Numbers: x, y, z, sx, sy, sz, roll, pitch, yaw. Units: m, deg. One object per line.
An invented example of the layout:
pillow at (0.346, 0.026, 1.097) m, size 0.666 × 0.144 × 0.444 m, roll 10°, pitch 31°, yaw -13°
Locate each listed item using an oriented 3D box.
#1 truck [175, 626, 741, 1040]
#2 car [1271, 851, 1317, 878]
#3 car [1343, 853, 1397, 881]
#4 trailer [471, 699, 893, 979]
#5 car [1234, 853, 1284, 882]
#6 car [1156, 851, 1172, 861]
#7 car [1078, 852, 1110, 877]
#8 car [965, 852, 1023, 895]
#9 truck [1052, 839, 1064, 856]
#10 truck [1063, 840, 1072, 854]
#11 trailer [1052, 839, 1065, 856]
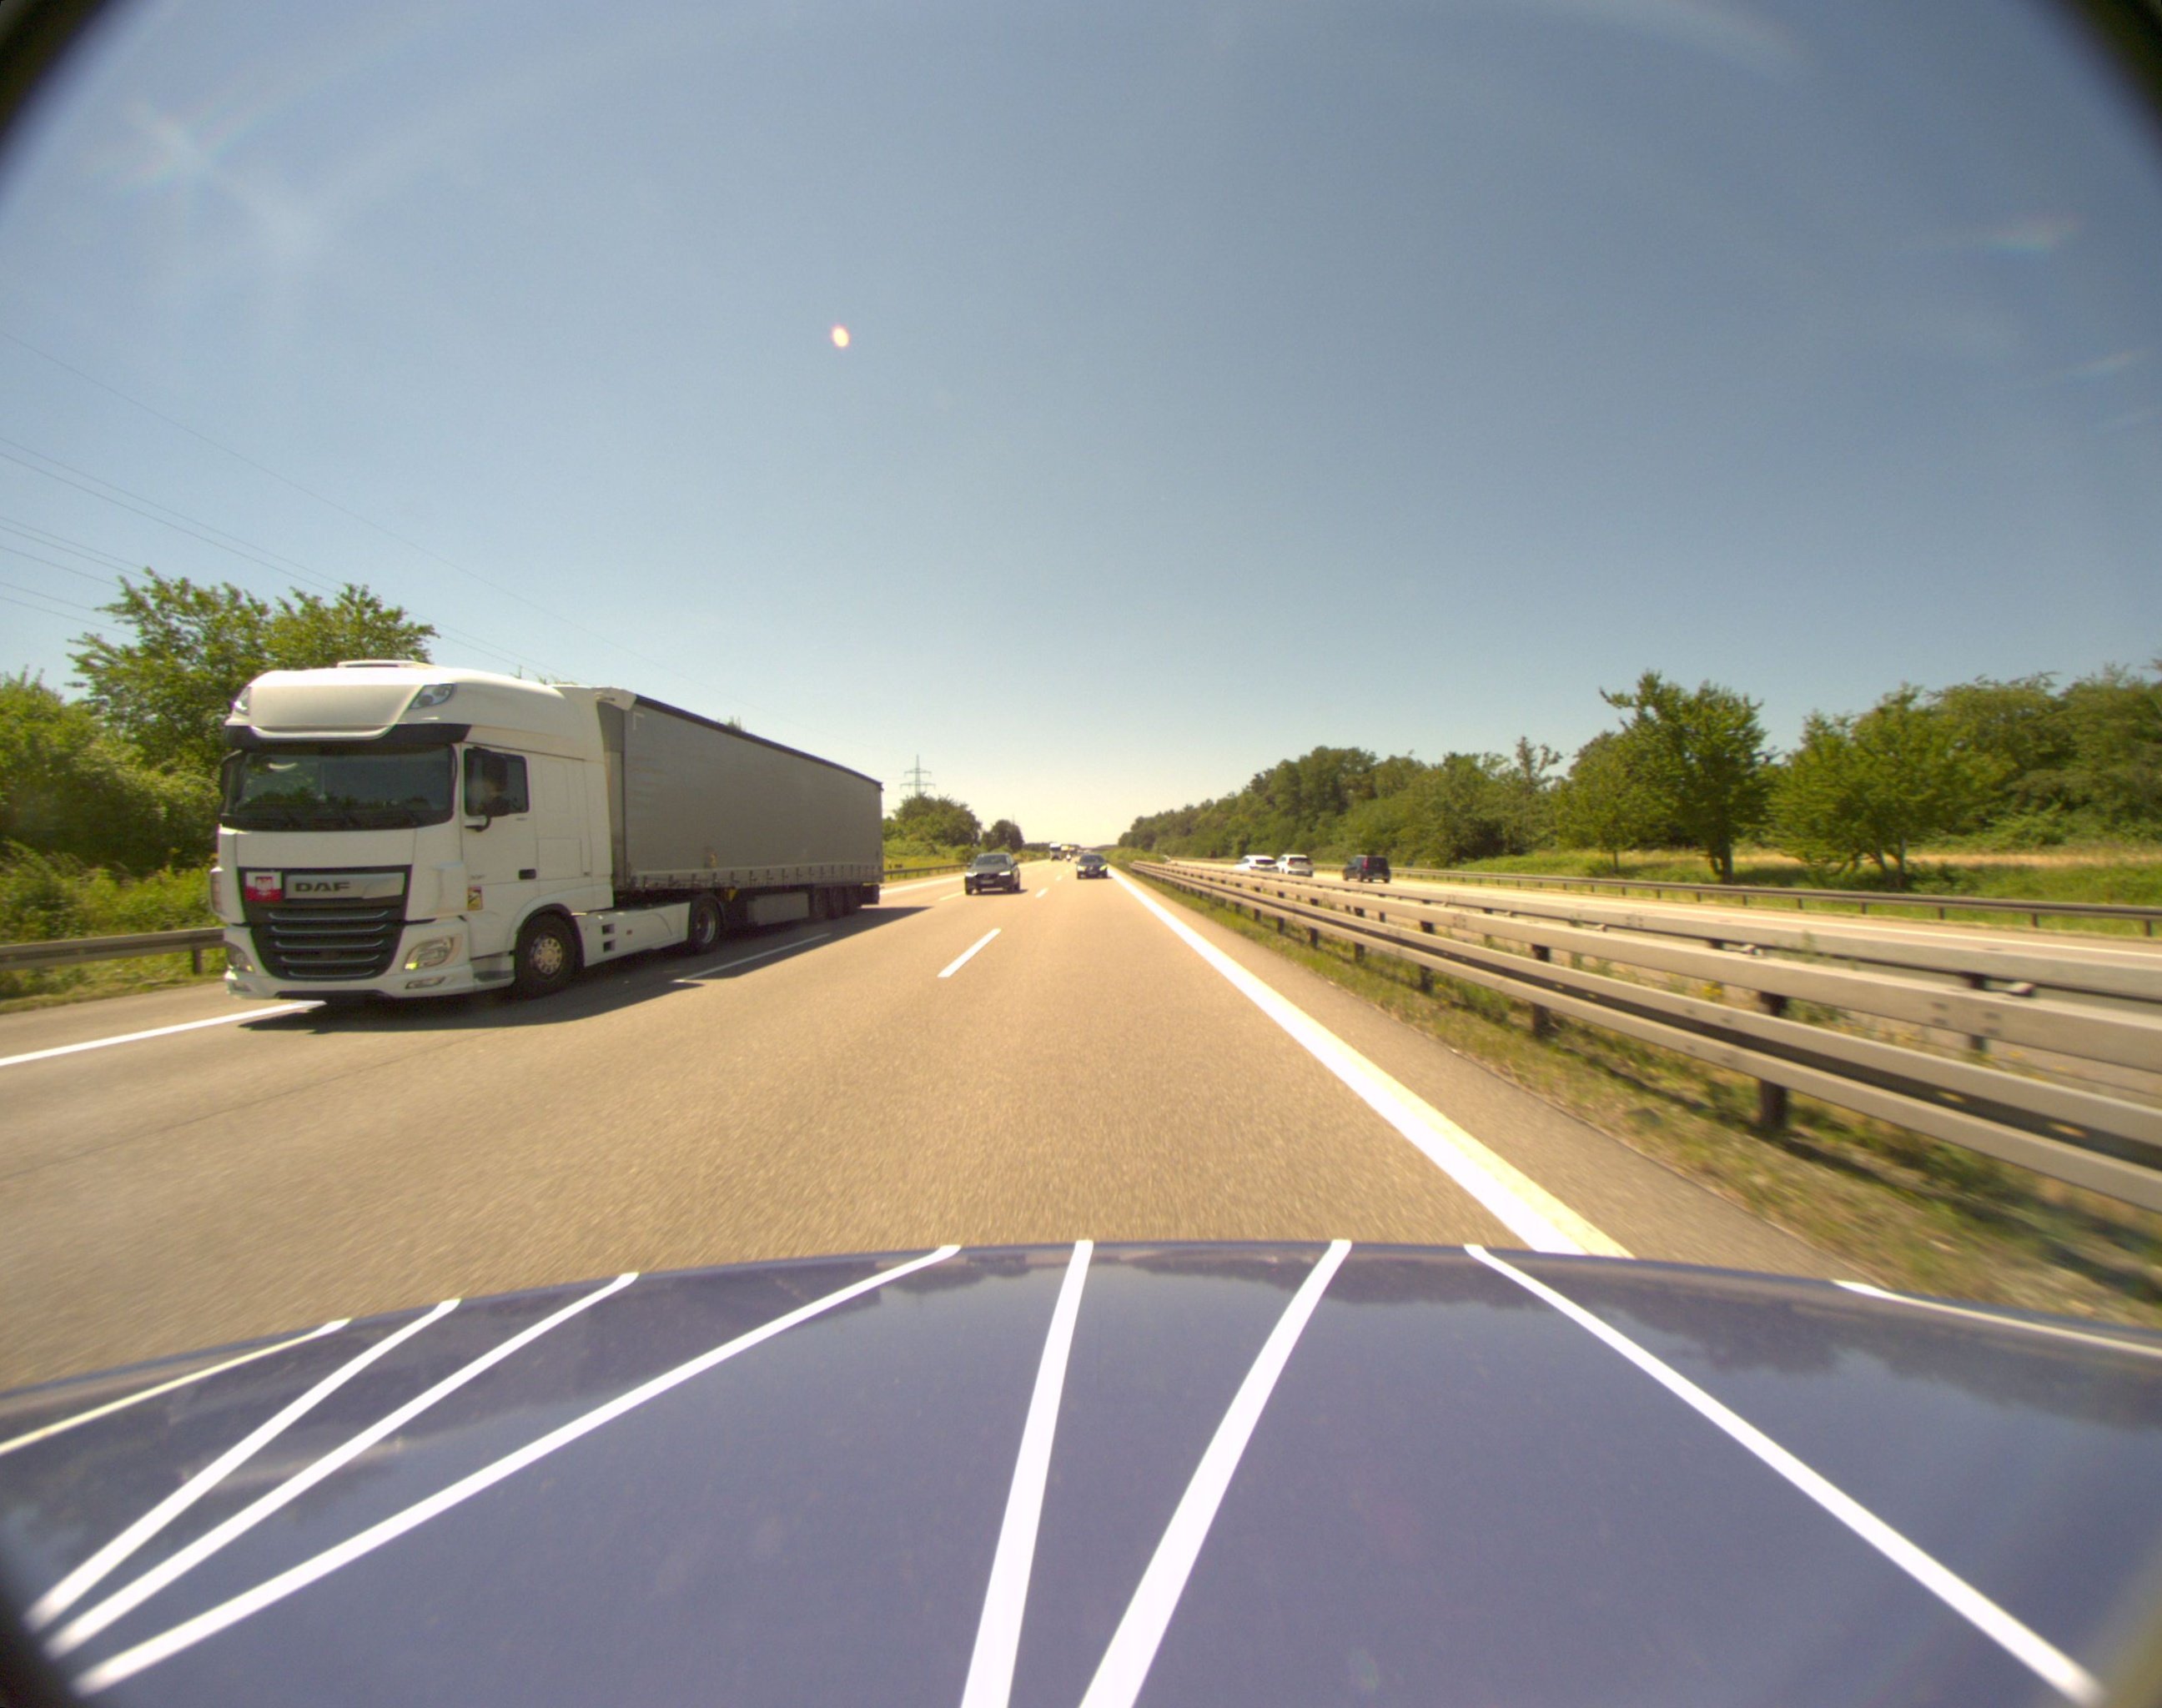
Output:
truck at (-7.644, -0.224, 10.732) m, size 2.743 × 4.096 × 6.124 m, roll -2°, pitch 1°, yaw 1°
car at (13.564, 0.649, 48.539) m, size 1.840 × 1.576 × 3.889 m, roll 1°, pitch 1°, yaw 1°
car at (17.395, 0.740, 45.927) m, size 1.737 × 1.584 × 3.902 m, roll 1°, pitch 1°, yaw 1°
trailer at (-7.561, -0.266, 17.890) m, size 2.743 × 4.083 × 13.121 m, roll -2°, pitch 0°, yaw 1°
car at (9.613, 0.687, 41.348) m, size 1.799 × 1.483 × 4.238 m, roll 1°, pitch 1°, yaw 1°
car at (11.093, 0.256, 101.206) m, size 1.693 × 1.307 × 4.084 m, roll 1°, pitch 1°, yaw 1°
car at (0.776, 0.612, 45.960) m, size 1.808 × 1.385 × 3.999 m, roll -2°, pitch 1°, yaw 0°
car at (-3.522, 0.759, 31.471) m, size 1.878 × 1.614 × 4.004 m, roll -2°, pitch 0°, yaw 0°
truck at (-5.279, -1.484, 174.919) m, size 2.573 × 3.871 × 5.722 m, roll -2°, pitch 1°, yaw 0°
truck at (-4.384, -2.241, 248.311) m, size 2.978 × 4.240 × 12.609 m, roll 0°, pitch 1°, yaw 0°
trailer at (-5.267, -1.532, 181.640) m, size 2.573 × 3.871 × 13.278 m, roll -2°, pitch 1°, yaw 0°
